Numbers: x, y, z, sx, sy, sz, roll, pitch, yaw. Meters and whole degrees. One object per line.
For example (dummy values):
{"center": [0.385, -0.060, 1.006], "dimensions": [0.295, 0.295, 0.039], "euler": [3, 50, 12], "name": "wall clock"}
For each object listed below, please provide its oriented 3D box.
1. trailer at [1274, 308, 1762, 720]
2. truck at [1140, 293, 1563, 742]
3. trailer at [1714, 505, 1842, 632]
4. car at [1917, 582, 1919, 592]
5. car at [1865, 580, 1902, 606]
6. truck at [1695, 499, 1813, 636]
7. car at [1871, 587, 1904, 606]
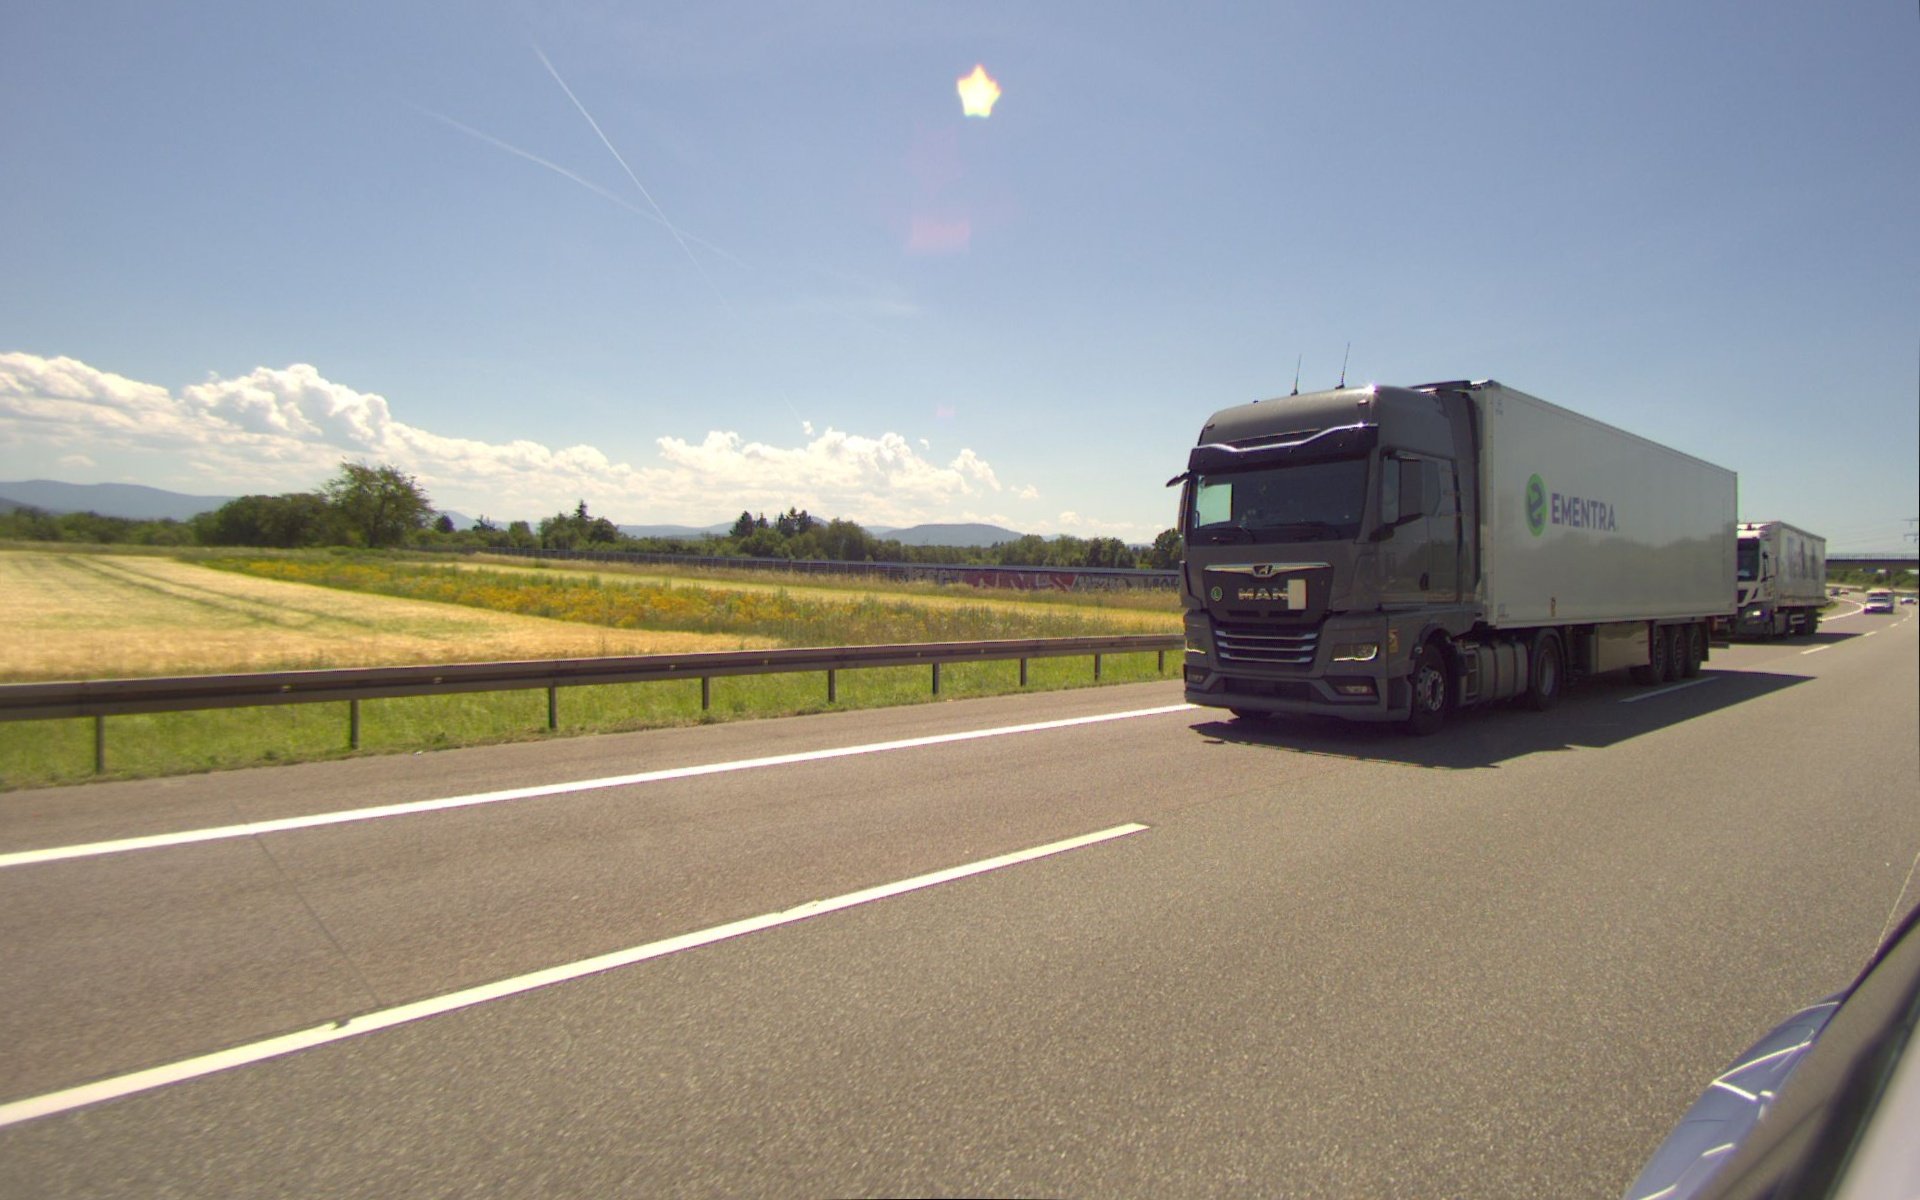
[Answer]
{"center": [10.348, -1.048, 17.252], "dimensions": [13.744, 4.716, 2.905], "euler": [-1, 0, -42], "name": "trailer"}
{"center": [4.913, -0.827, 12.440], "dimensions": [4.888, 4.309, 2.913], "euler": [0, 0, -41], "name": "truck"}
{"center": [32.459, -1.121, 39.857], "dimensions": [2.596, 4.305, 13.420], "euler": [0, 0, 45], "name": "trailer"}
{"center": [146.294, -1.987, 153.249], "dimensions": [1.642, 1.585, 3.549], "euler": [2, 2, 39], "name": "car"}
{"center": [84.372, -0.665, 92.489], "dimensions": [2.179, 2.294, 4.881], "euler": [2, 2, 39], "name": "car"}
{"center": [27.097, -1.061, 34.475], "dimensions": [2.601, 4.309, 5.007], "euler": [0, 1, 45], "name": "truck"}
{"center": [80.120, -0.337, 87.462], "dimensions": [1.777, 1.494, 3.944], "euler": [2, 2, 39], "name": "car"}
